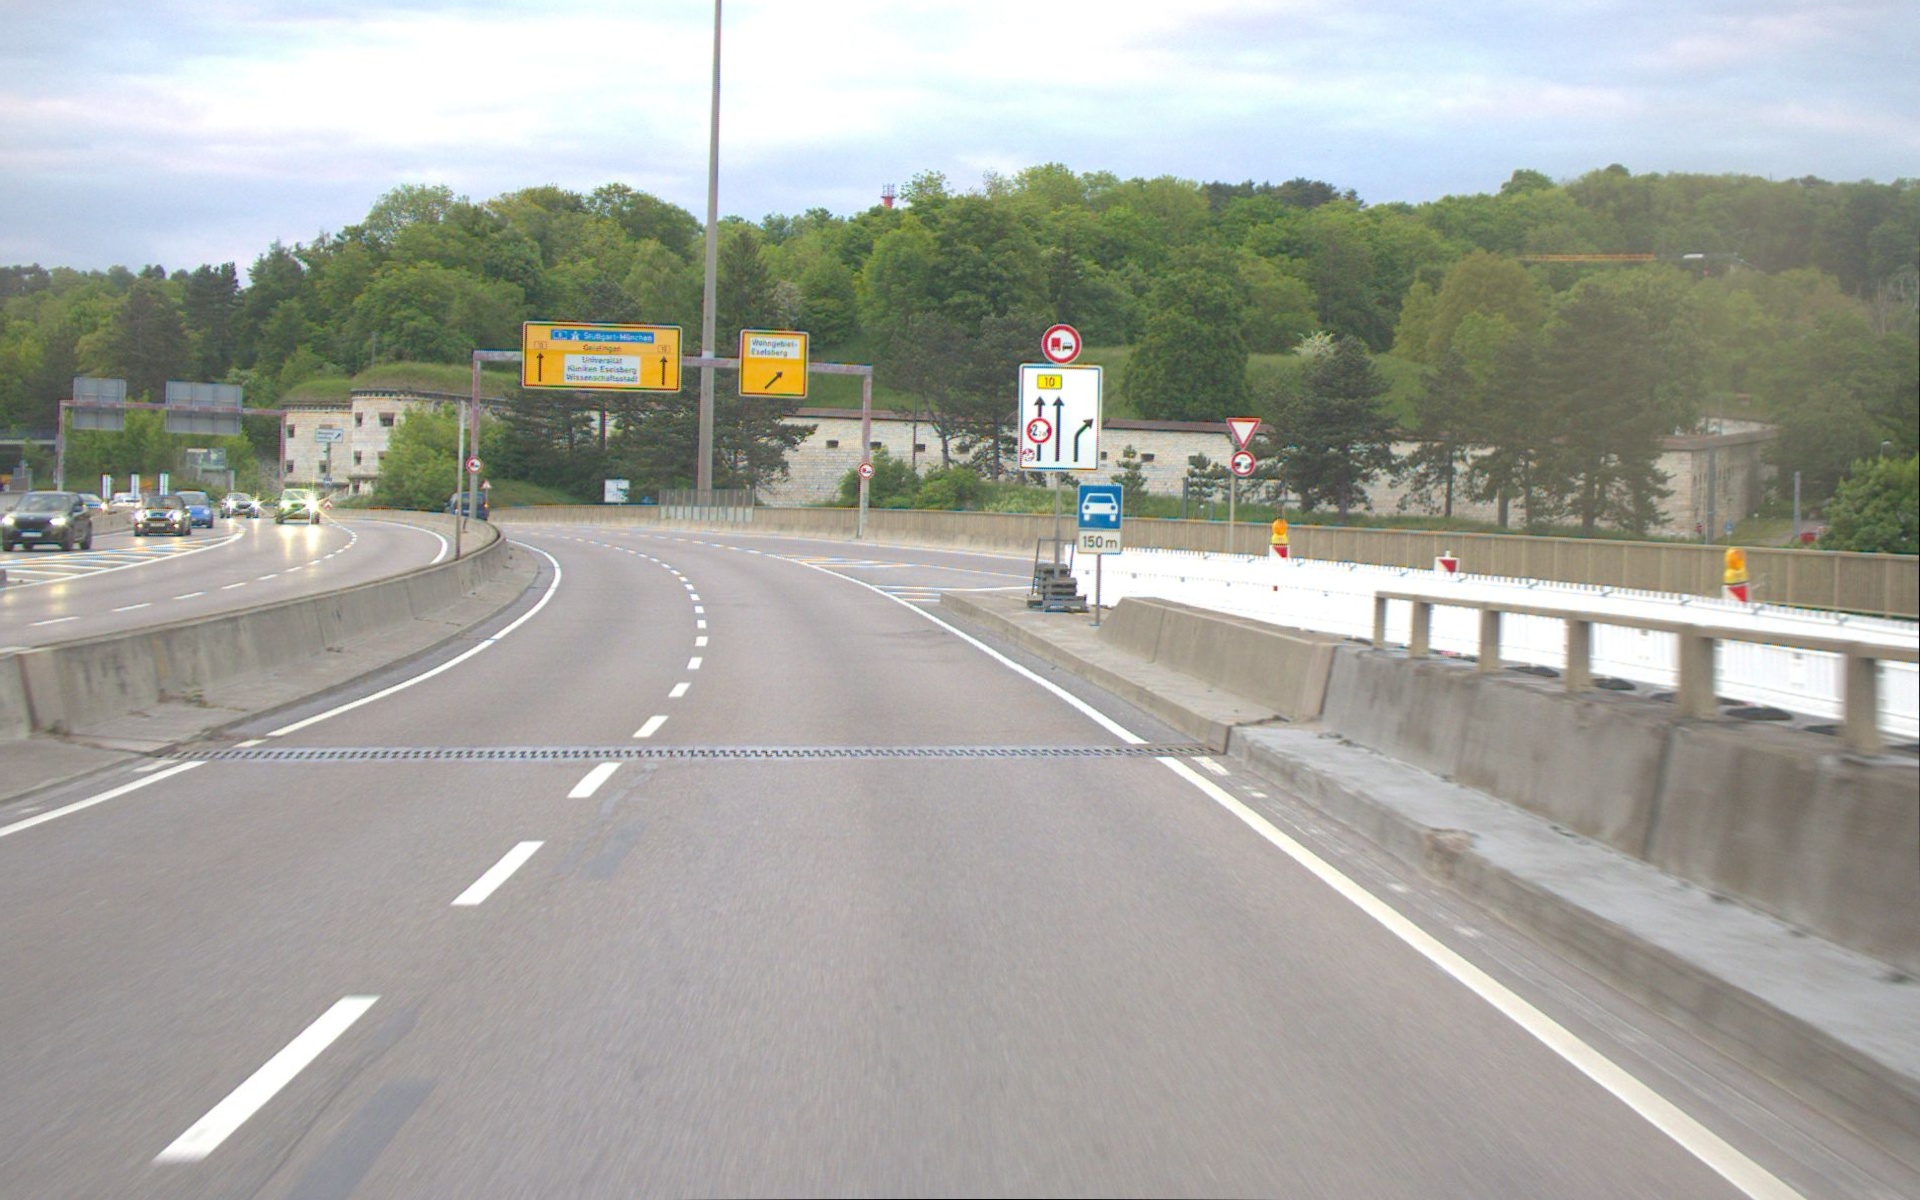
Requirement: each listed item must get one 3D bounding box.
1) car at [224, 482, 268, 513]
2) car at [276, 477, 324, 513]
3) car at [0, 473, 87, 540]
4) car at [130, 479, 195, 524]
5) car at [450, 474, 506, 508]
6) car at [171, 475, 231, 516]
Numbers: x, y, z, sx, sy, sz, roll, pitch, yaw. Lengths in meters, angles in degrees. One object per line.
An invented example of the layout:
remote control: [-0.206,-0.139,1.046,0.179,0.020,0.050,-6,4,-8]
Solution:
car: [-42.080,-6.042,202.562,1.810,1.529,4.548,6,1,-19]
car: [-29.222,-4.642,152.108,1.710,1.489,4.082,3,1,-15]
car: [-25.142,-2.567,94.273,1.636,1.711,4.001,2,1,-5]
car: [-27.645,-3.418,119.257,1.796,1.481,3.842,1,1,-7]
car: [-26.212,-5.931,186.773,2.304,1.757,4.264,2,1,-17]
car: [-30.361,-4.190,137.614,1.897,1.590,4.164,1,2,-6]
